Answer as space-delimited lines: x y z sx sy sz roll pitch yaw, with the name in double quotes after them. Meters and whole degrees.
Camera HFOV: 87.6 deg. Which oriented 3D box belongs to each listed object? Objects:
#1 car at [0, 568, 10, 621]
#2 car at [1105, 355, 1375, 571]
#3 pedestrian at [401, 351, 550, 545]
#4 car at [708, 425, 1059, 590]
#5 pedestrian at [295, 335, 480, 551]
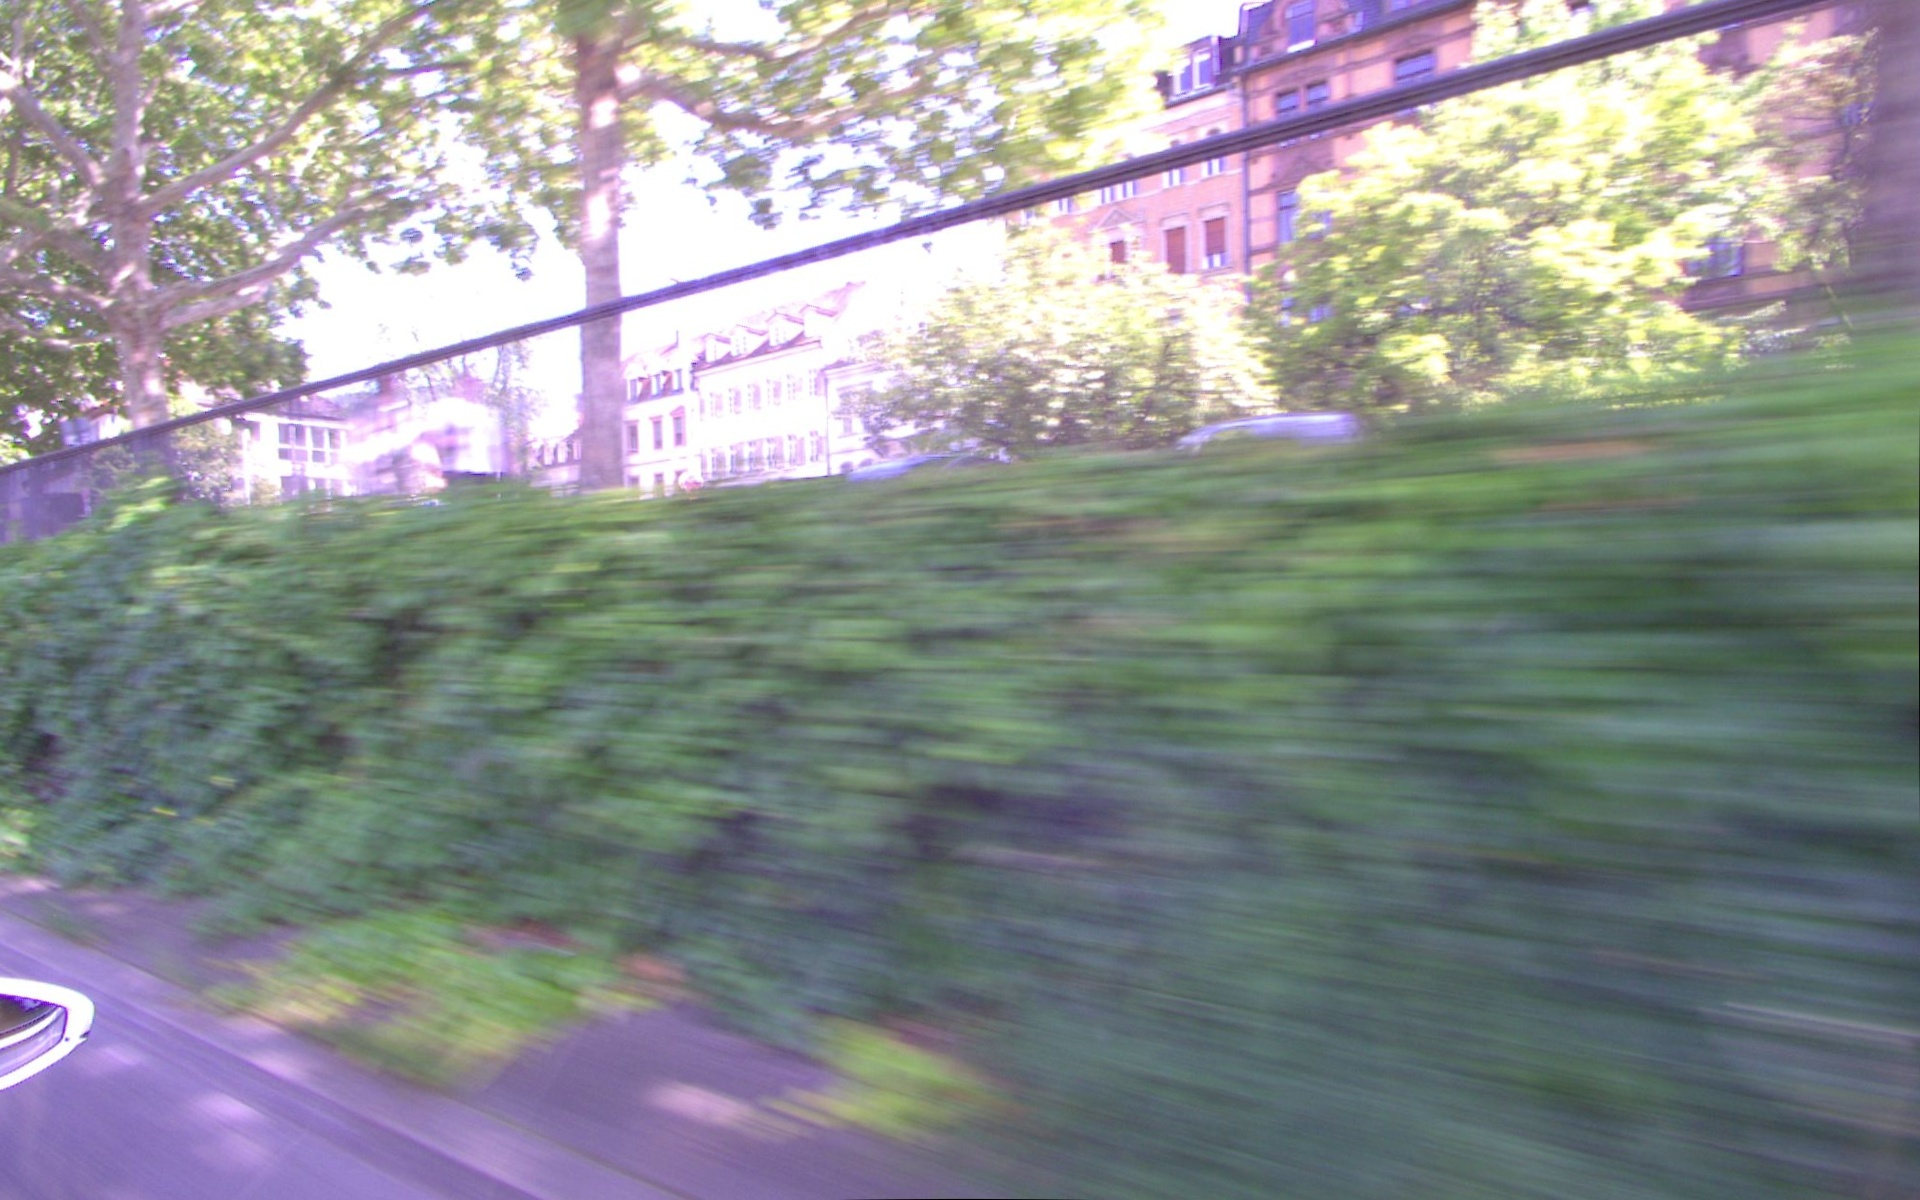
-27.789 -0.169 27.577 1.632 1.520 3.795 -2 0 -33 "car"
2.471 -0.955 8.143 1.646 1.252 3.723 -1 3 23 "car"
-3.780 -1.145 7.834 0.782 1.385 0.642 0 4 30 "pedestrian"
-0.550 -0.838 9.652 1.493 1.252 3.511 0 4 34 "car"
-4.064 -1.064 7.136 0.802 1.385 0.751 0 4 29 "pedestrian"
